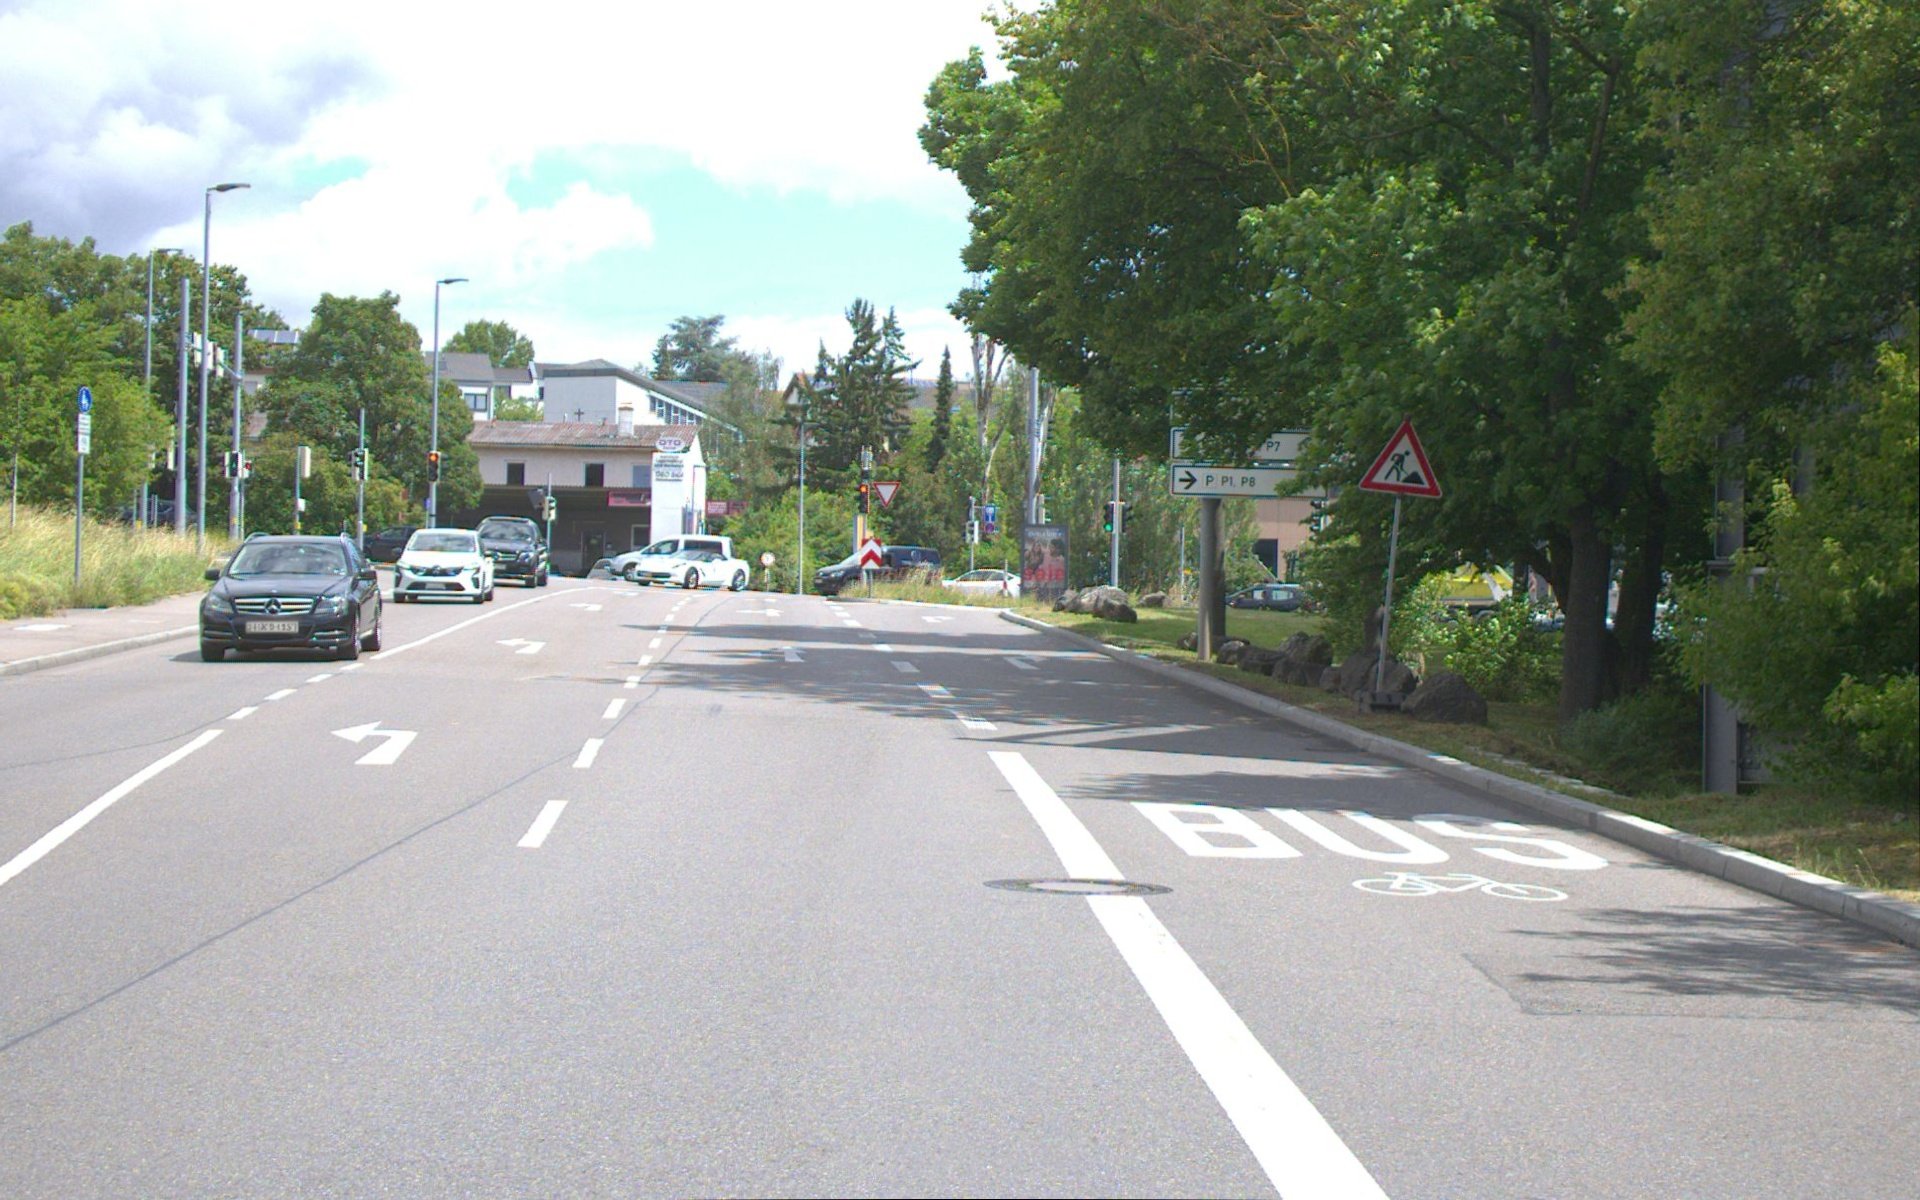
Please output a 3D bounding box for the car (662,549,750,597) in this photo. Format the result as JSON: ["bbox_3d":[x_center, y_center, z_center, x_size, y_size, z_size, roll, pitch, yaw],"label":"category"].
[{"bbox_3d":[-10.307,-1.083,139.414,1.899,1.853,3.810,0,0,-34],"label":"car"}]

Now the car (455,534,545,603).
[{"bbox_3d":[-11.348,-0.799,85.037,1.821,1.648,4.533,0,1,-3],"label":"car"}]

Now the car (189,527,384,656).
[{"bbox_3d":[-7.927,-0.120,40.799,1.766,1.437,4.378,0,1,-4],"label":"car"}]

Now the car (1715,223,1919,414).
[{"bbox_3d":[7.874,-2.163,26.680,3.696,1.407,1.657,2,2,22],"label":"car"}]

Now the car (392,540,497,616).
[{"bbox_3d":[-10.087,-0.441,67.503,1.766,1.437,3.900,0,1,-4],"label":"car"}]

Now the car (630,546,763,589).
[{"bbox_3d":[-8.112,-0.986,106.328,1.907,1.287,4.602,1,0,28],"label":"car"}]

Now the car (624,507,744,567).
[{"bbox_3d":[-9.563,-2.191,119.317,3.987,2.007,2.000,0,0,-1],"label":"car"}]

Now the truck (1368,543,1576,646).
[{"bbox_3d":[18.093,-0.194,121.823,6.944,3.567,2.847,0,0,1],"label":"truck"}]

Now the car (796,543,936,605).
[{"bbox_3d":[-3.052,-0.838,112.678,1.789,1.773,4.799,1,-2,41],"label":"car"}]

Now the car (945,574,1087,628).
[{"bbox_3d":[2.025,0.020,125.351,4.801,1.773,1.788,2,-1,23],"label":"car"}]
